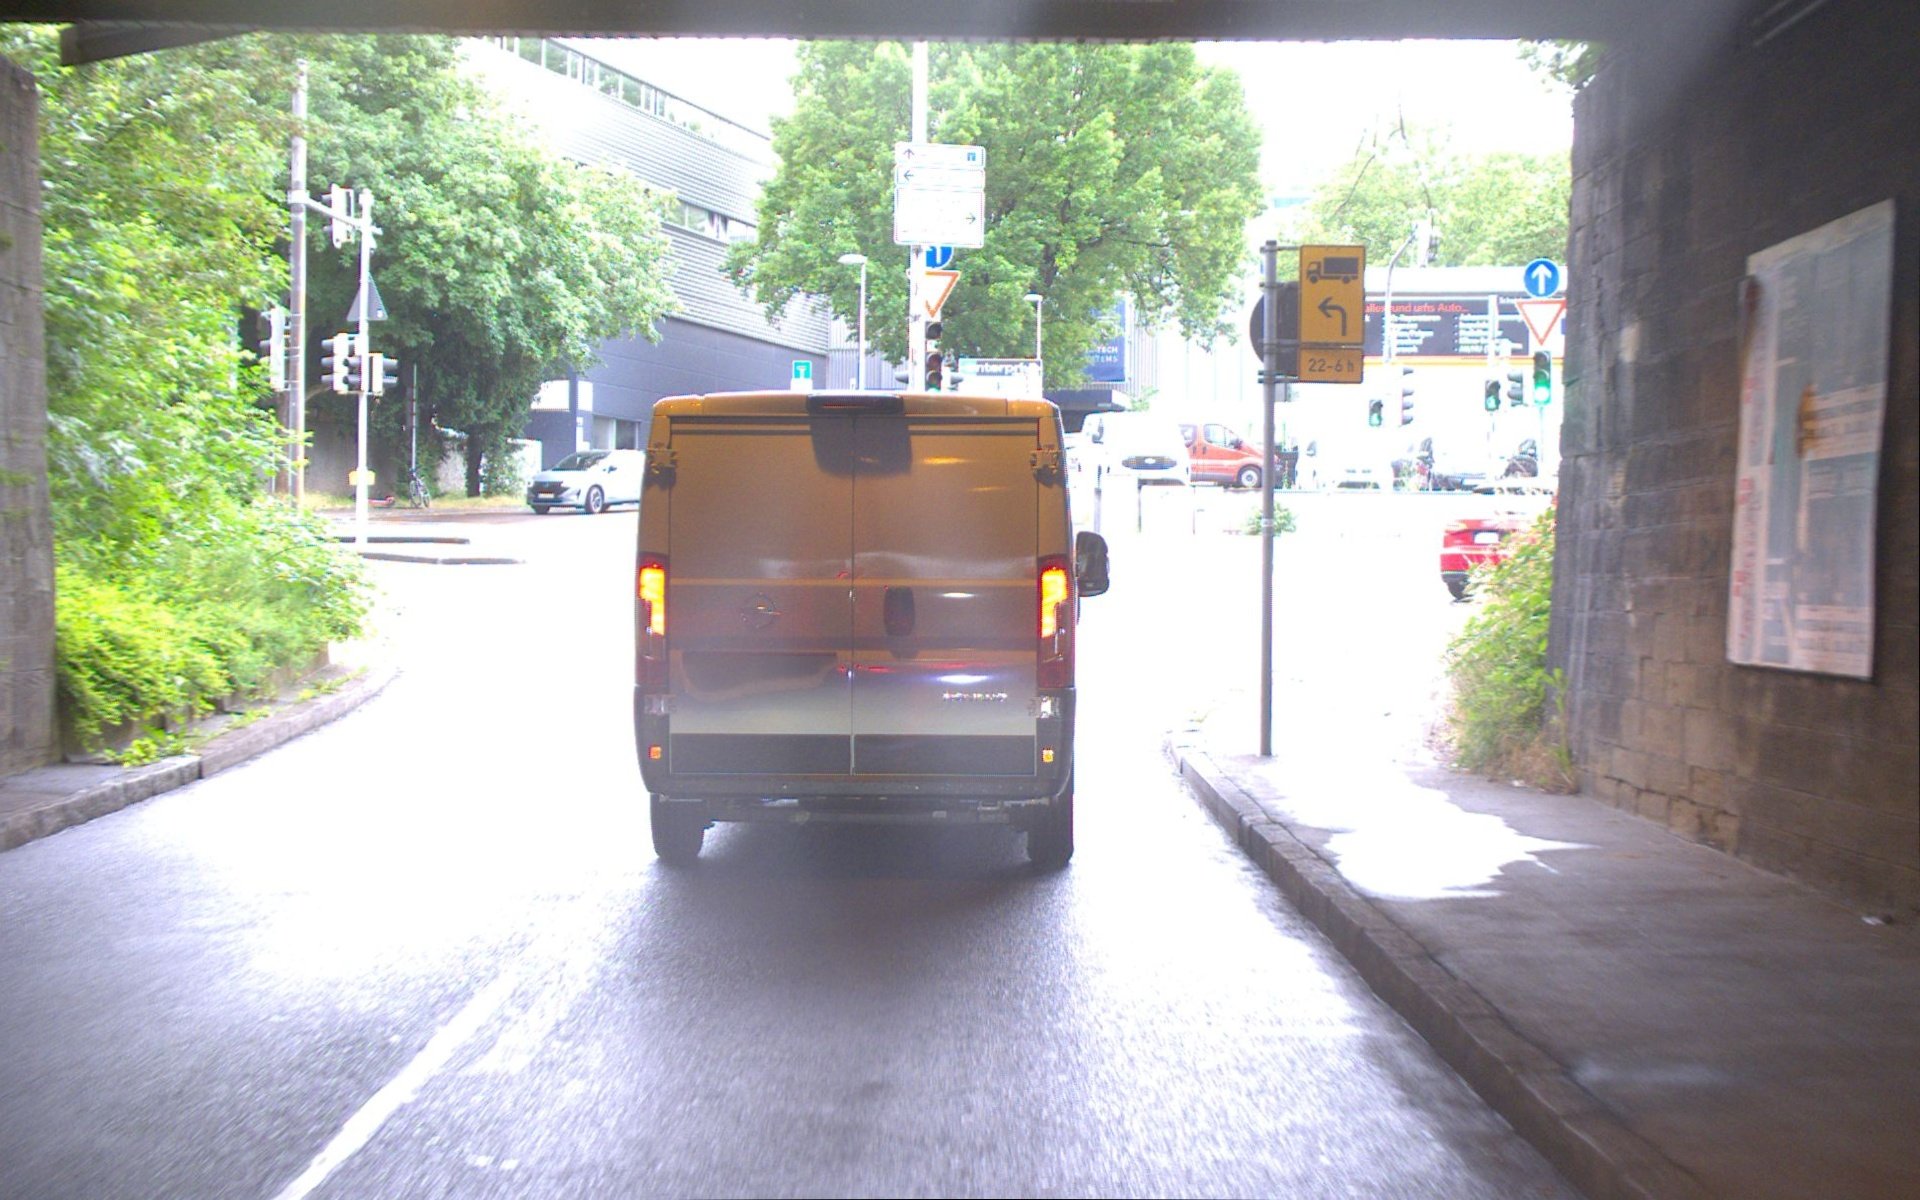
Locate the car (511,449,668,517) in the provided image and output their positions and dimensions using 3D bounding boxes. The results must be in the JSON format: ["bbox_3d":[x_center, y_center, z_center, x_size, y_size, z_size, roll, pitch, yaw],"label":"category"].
[{"bbox_3d":[-9.598,-3.023,89.260,1.997,1.682,3.993,2,1,32],"label":"car"}]

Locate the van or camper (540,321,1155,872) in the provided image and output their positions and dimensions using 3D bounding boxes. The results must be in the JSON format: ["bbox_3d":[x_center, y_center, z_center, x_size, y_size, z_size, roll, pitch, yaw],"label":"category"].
[{"bbox_3d":[-0.464,-0.044,17.663,2.698,2.408,4.903,1,1,1],"label":"van or camper"}]

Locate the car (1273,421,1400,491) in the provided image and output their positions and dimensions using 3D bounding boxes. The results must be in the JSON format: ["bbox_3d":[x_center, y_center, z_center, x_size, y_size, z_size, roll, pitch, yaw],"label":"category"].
[{"bbox_3d":[8.521,-3.255,78.137,1.993,1.481,4.001,1,1,-7],"label":"car"}]

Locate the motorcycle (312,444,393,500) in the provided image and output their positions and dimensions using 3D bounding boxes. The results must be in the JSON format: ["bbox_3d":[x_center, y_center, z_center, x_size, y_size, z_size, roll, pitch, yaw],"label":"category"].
[{"bbox_3d":[-15.751,-3.321,89.181,1.987,1.417,0.659,1,1,-4],"label":"motorcycle"}]

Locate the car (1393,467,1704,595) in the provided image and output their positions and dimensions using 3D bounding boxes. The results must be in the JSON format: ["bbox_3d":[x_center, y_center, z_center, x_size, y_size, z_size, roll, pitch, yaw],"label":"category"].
[{"bbox_3d":[7.019,-0.803,40.739,1.840,1.433,4.093,1,1,40],"label":"car"}]

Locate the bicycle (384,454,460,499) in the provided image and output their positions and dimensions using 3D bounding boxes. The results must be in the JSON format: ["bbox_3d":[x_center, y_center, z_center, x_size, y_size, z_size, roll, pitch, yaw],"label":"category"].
[{"bbox_3d":[-13.936,-3.187,89.113,0.928,1.124,2.288,1,1,20],"label":"bicycle"}]

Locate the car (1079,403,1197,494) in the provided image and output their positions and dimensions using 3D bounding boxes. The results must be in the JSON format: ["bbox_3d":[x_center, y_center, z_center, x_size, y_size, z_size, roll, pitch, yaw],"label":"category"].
[{"bbox_3d":[3.982,-3.391,77.530,1.993,1.941,4.001,1,1,-7],"label":"car"}]

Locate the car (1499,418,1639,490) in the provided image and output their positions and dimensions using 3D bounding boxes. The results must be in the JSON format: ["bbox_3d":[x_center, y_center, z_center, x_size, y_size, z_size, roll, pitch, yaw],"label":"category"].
[{"bbox_3d":[13.651,-3.259,77.255,1.993,1.534,4.001,1,1,-7],"label":"car"}]

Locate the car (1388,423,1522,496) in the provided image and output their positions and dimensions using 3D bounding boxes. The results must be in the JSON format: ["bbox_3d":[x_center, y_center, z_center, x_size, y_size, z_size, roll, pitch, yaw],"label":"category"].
[{"bbox_3d":[11.107,-3.136,77.397,1.993,1.534,4.001,1,1,-7],"label":"car"}]

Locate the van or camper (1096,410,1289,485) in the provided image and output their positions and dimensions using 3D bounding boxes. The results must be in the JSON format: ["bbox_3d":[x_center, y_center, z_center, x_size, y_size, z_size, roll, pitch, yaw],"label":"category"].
[{"bbox_3d":[6.552,-4.275,96.621,5.309,2.007,2.078,1,1,6],"label":"van or camper"}]
